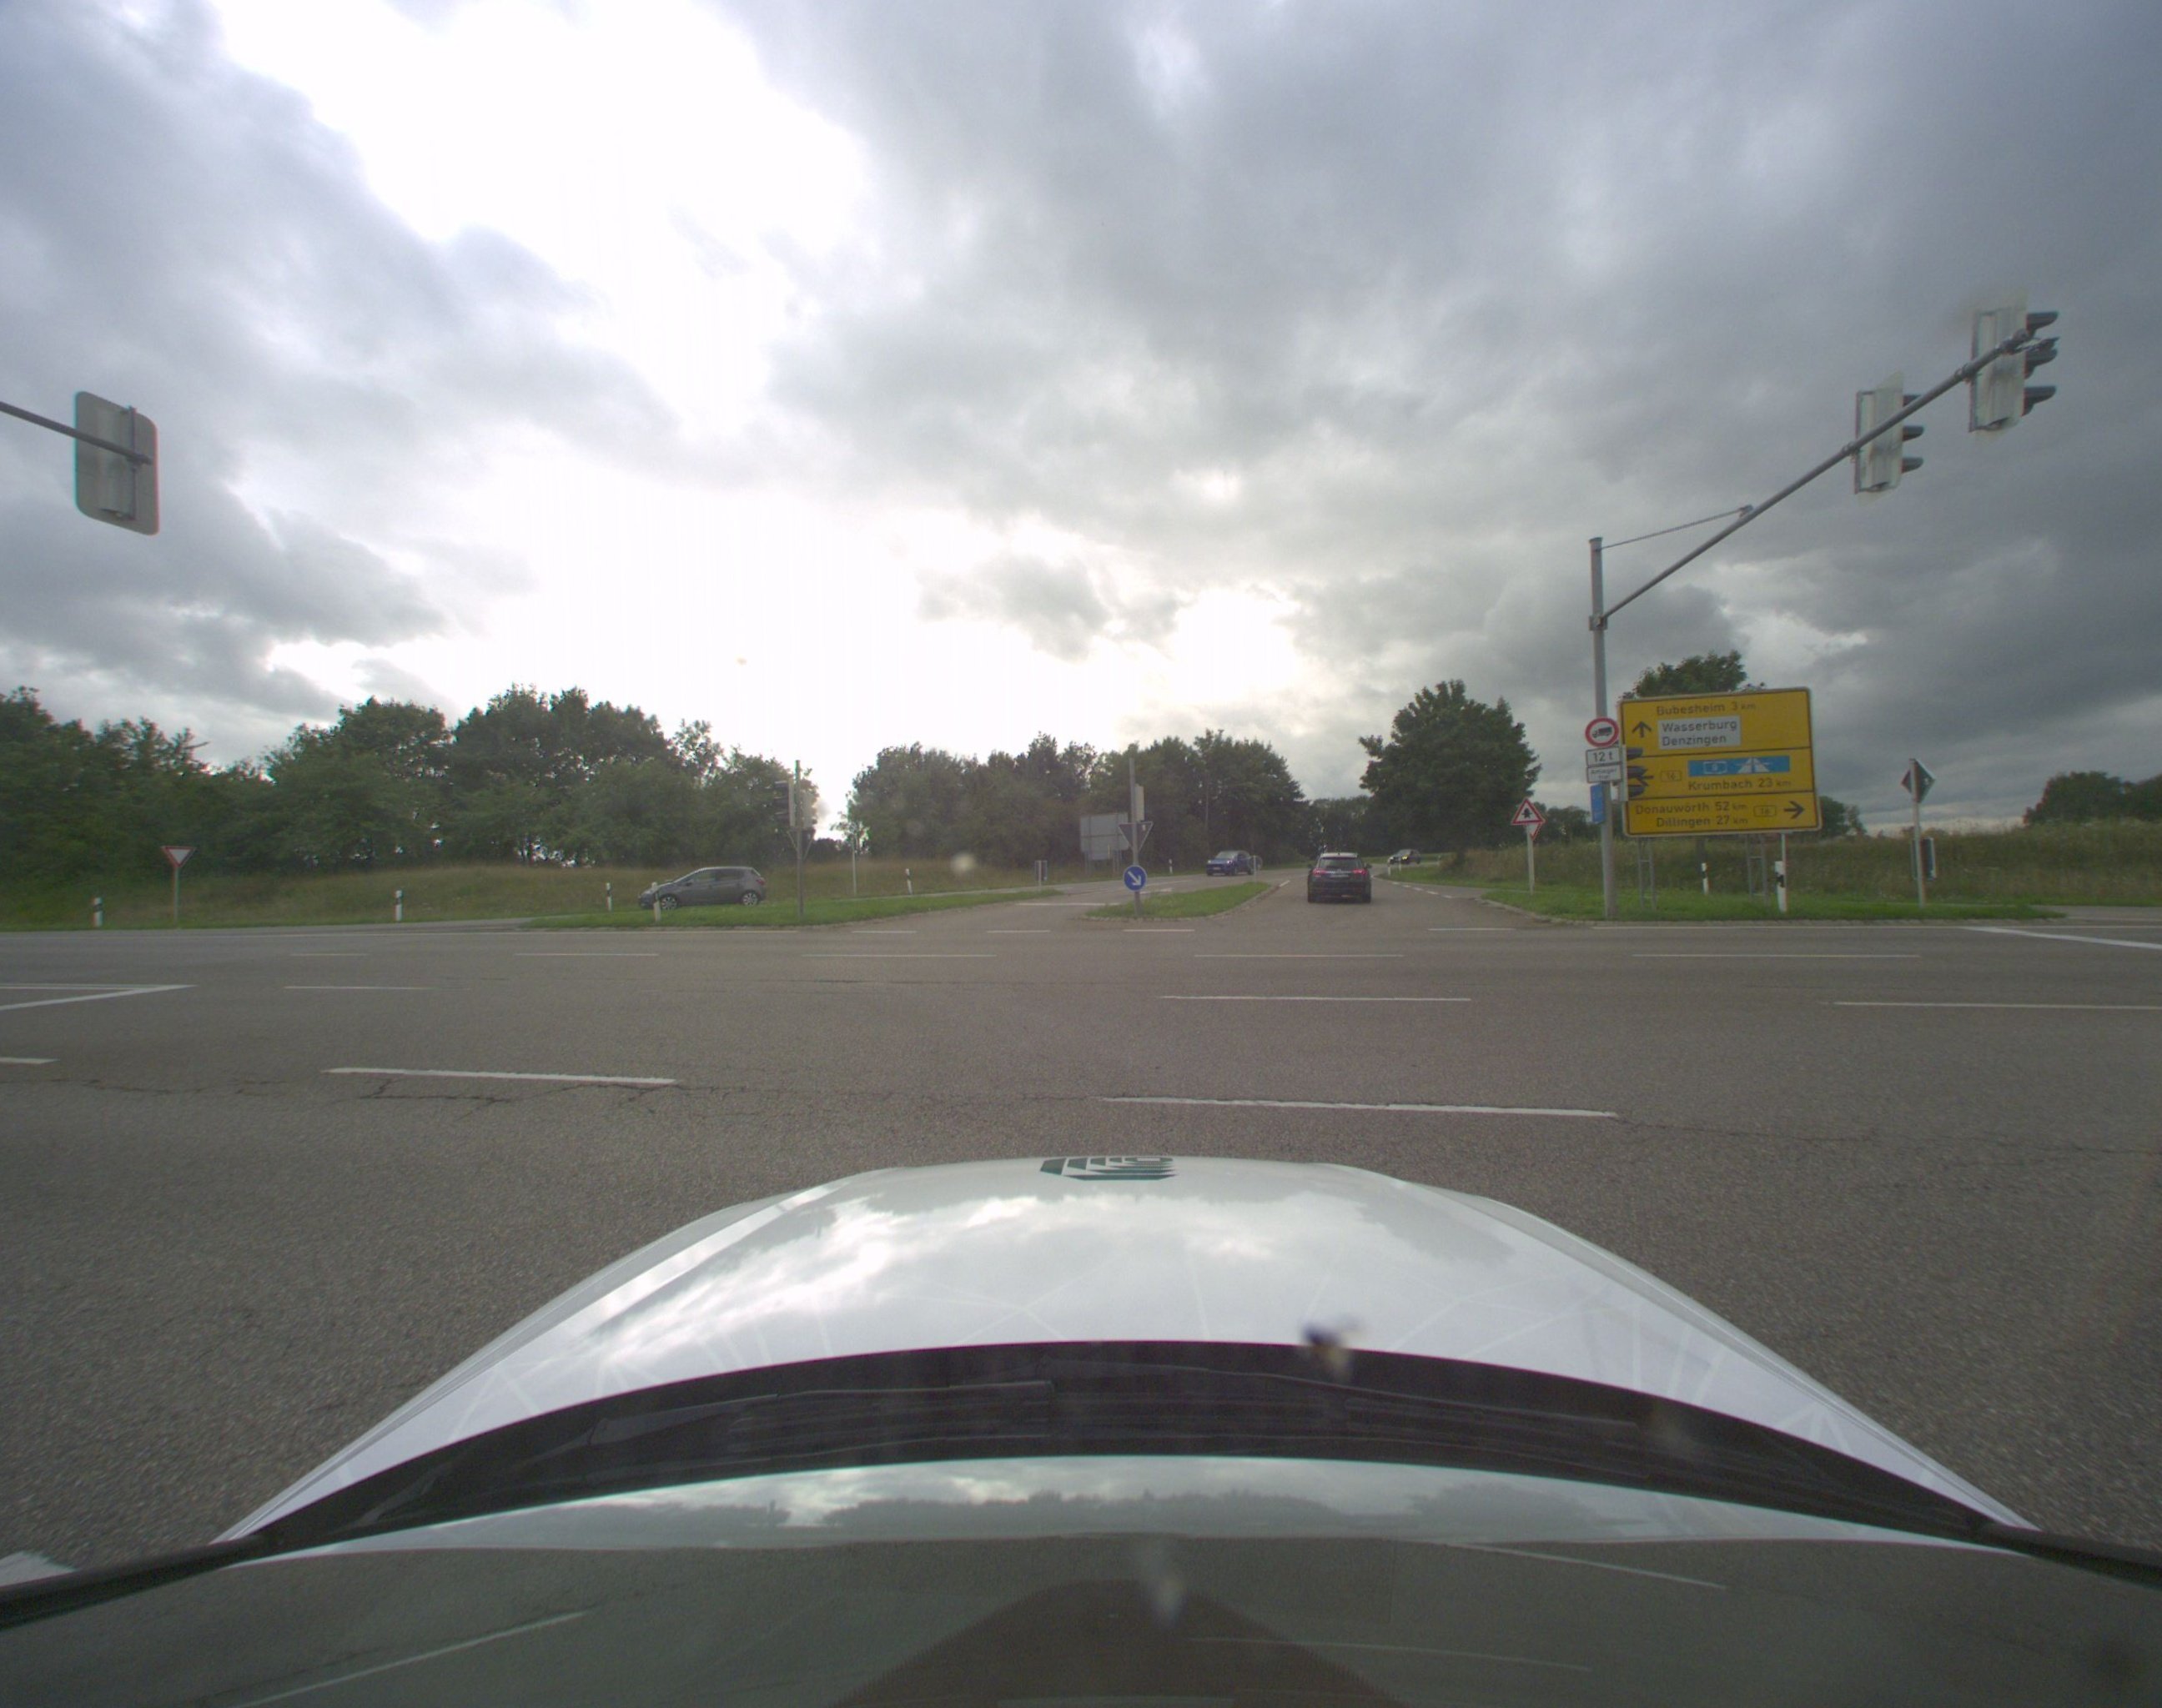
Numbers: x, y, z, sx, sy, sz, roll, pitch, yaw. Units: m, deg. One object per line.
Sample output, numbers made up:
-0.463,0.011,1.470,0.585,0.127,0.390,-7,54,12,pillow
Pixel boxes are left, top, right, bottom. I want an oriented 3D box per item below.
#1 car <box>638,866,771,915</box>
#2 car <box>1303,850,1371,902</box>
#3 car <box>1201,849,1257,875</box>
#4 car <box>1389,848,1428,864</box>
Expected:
-12.970,1.226,28.071,4.013,1.535,1.980,0,-2,-31,car
7.845,0.668,25.101,1.794,1.451,4.291,-2,-2,16,car
9.600,0.482,52.652,1.974,1.570,4.786,-2,-1,30,car
32.935,0.168,81.909,1.975,1.503,4.695,-2,-1,44,car
